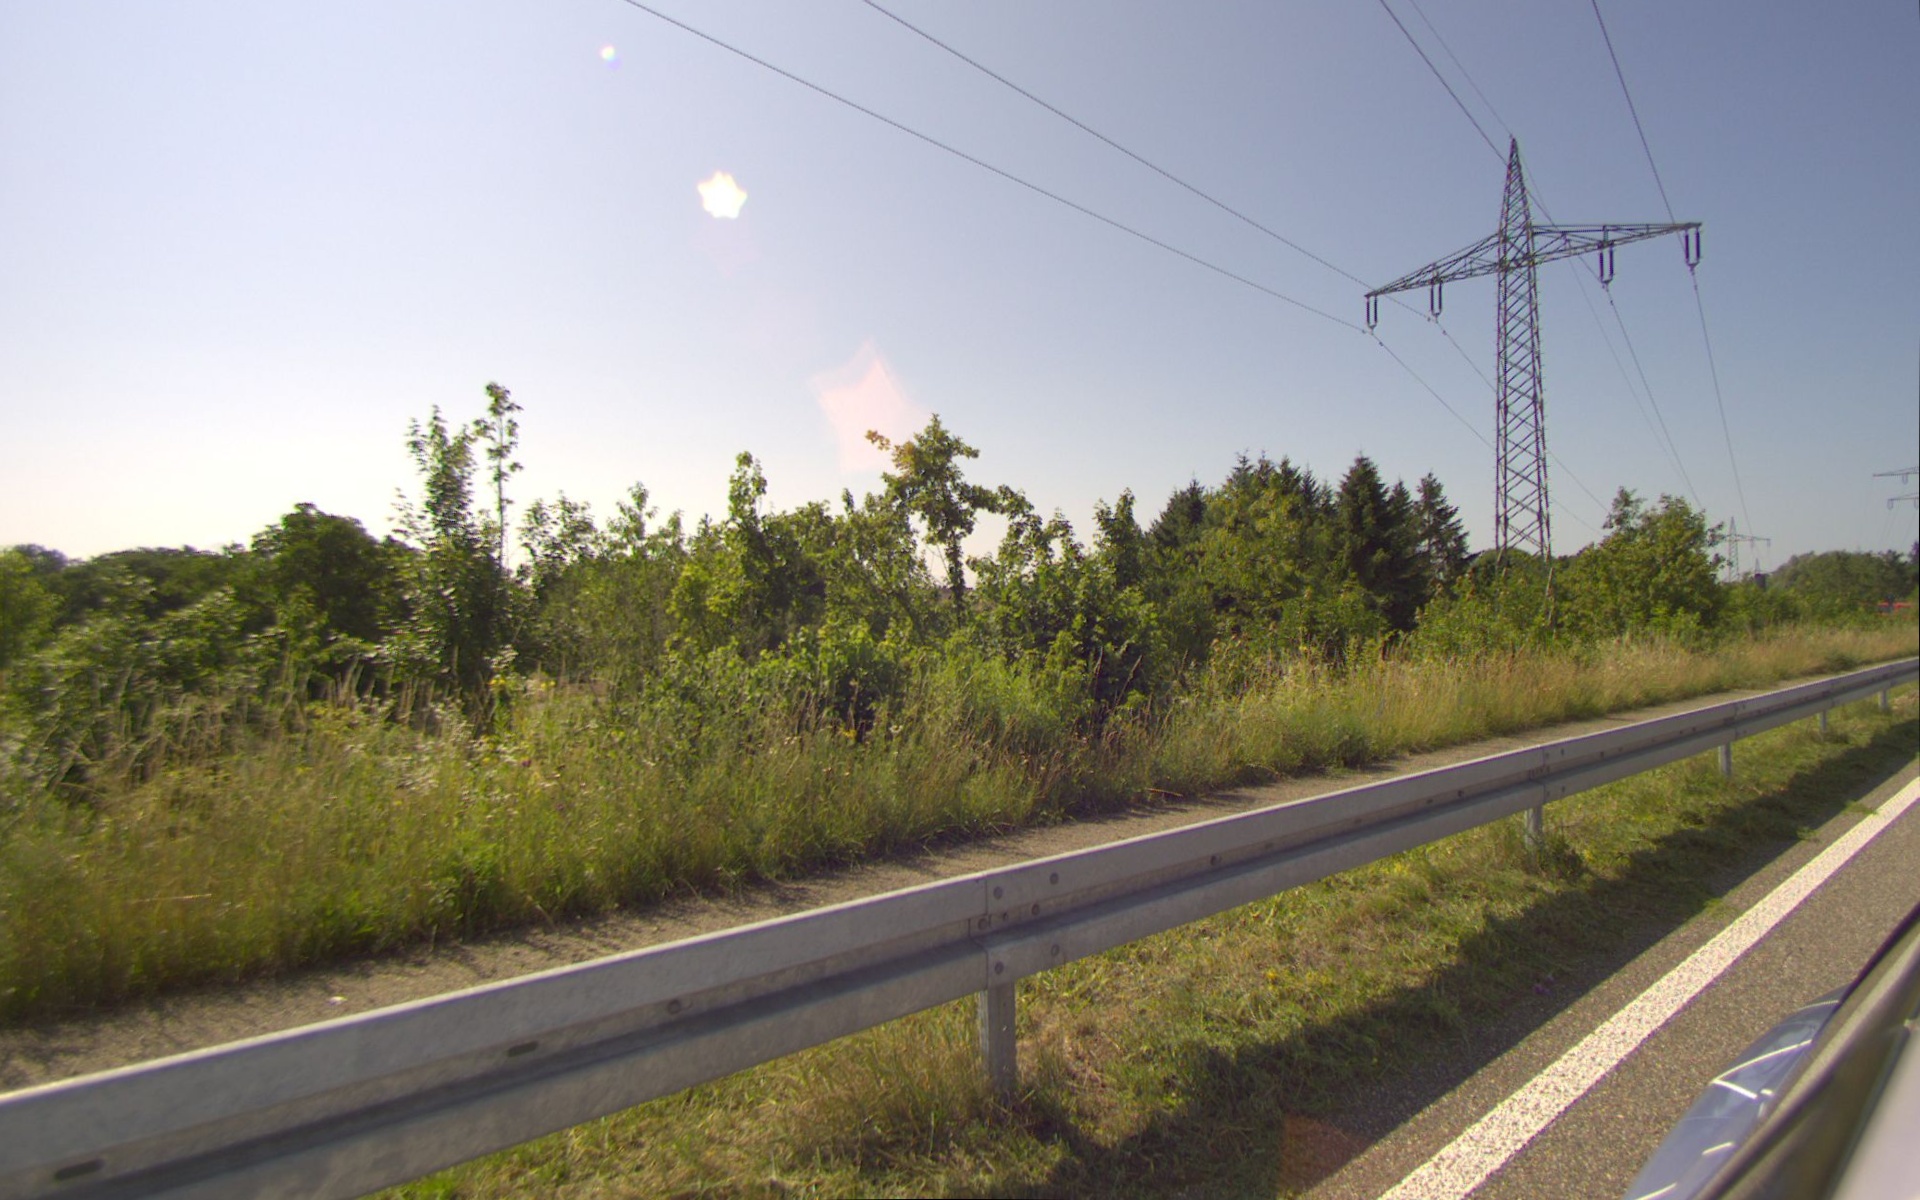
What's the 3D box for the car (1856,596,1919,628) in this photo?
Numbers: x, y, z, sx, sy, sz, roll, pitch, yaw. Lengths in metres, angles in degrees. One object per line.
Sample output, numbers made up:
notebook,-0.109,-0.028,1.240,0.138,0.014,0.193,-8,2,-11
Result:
car,60.459,0.752,64.405,1.759,1.927,4.847,1,1,-25
